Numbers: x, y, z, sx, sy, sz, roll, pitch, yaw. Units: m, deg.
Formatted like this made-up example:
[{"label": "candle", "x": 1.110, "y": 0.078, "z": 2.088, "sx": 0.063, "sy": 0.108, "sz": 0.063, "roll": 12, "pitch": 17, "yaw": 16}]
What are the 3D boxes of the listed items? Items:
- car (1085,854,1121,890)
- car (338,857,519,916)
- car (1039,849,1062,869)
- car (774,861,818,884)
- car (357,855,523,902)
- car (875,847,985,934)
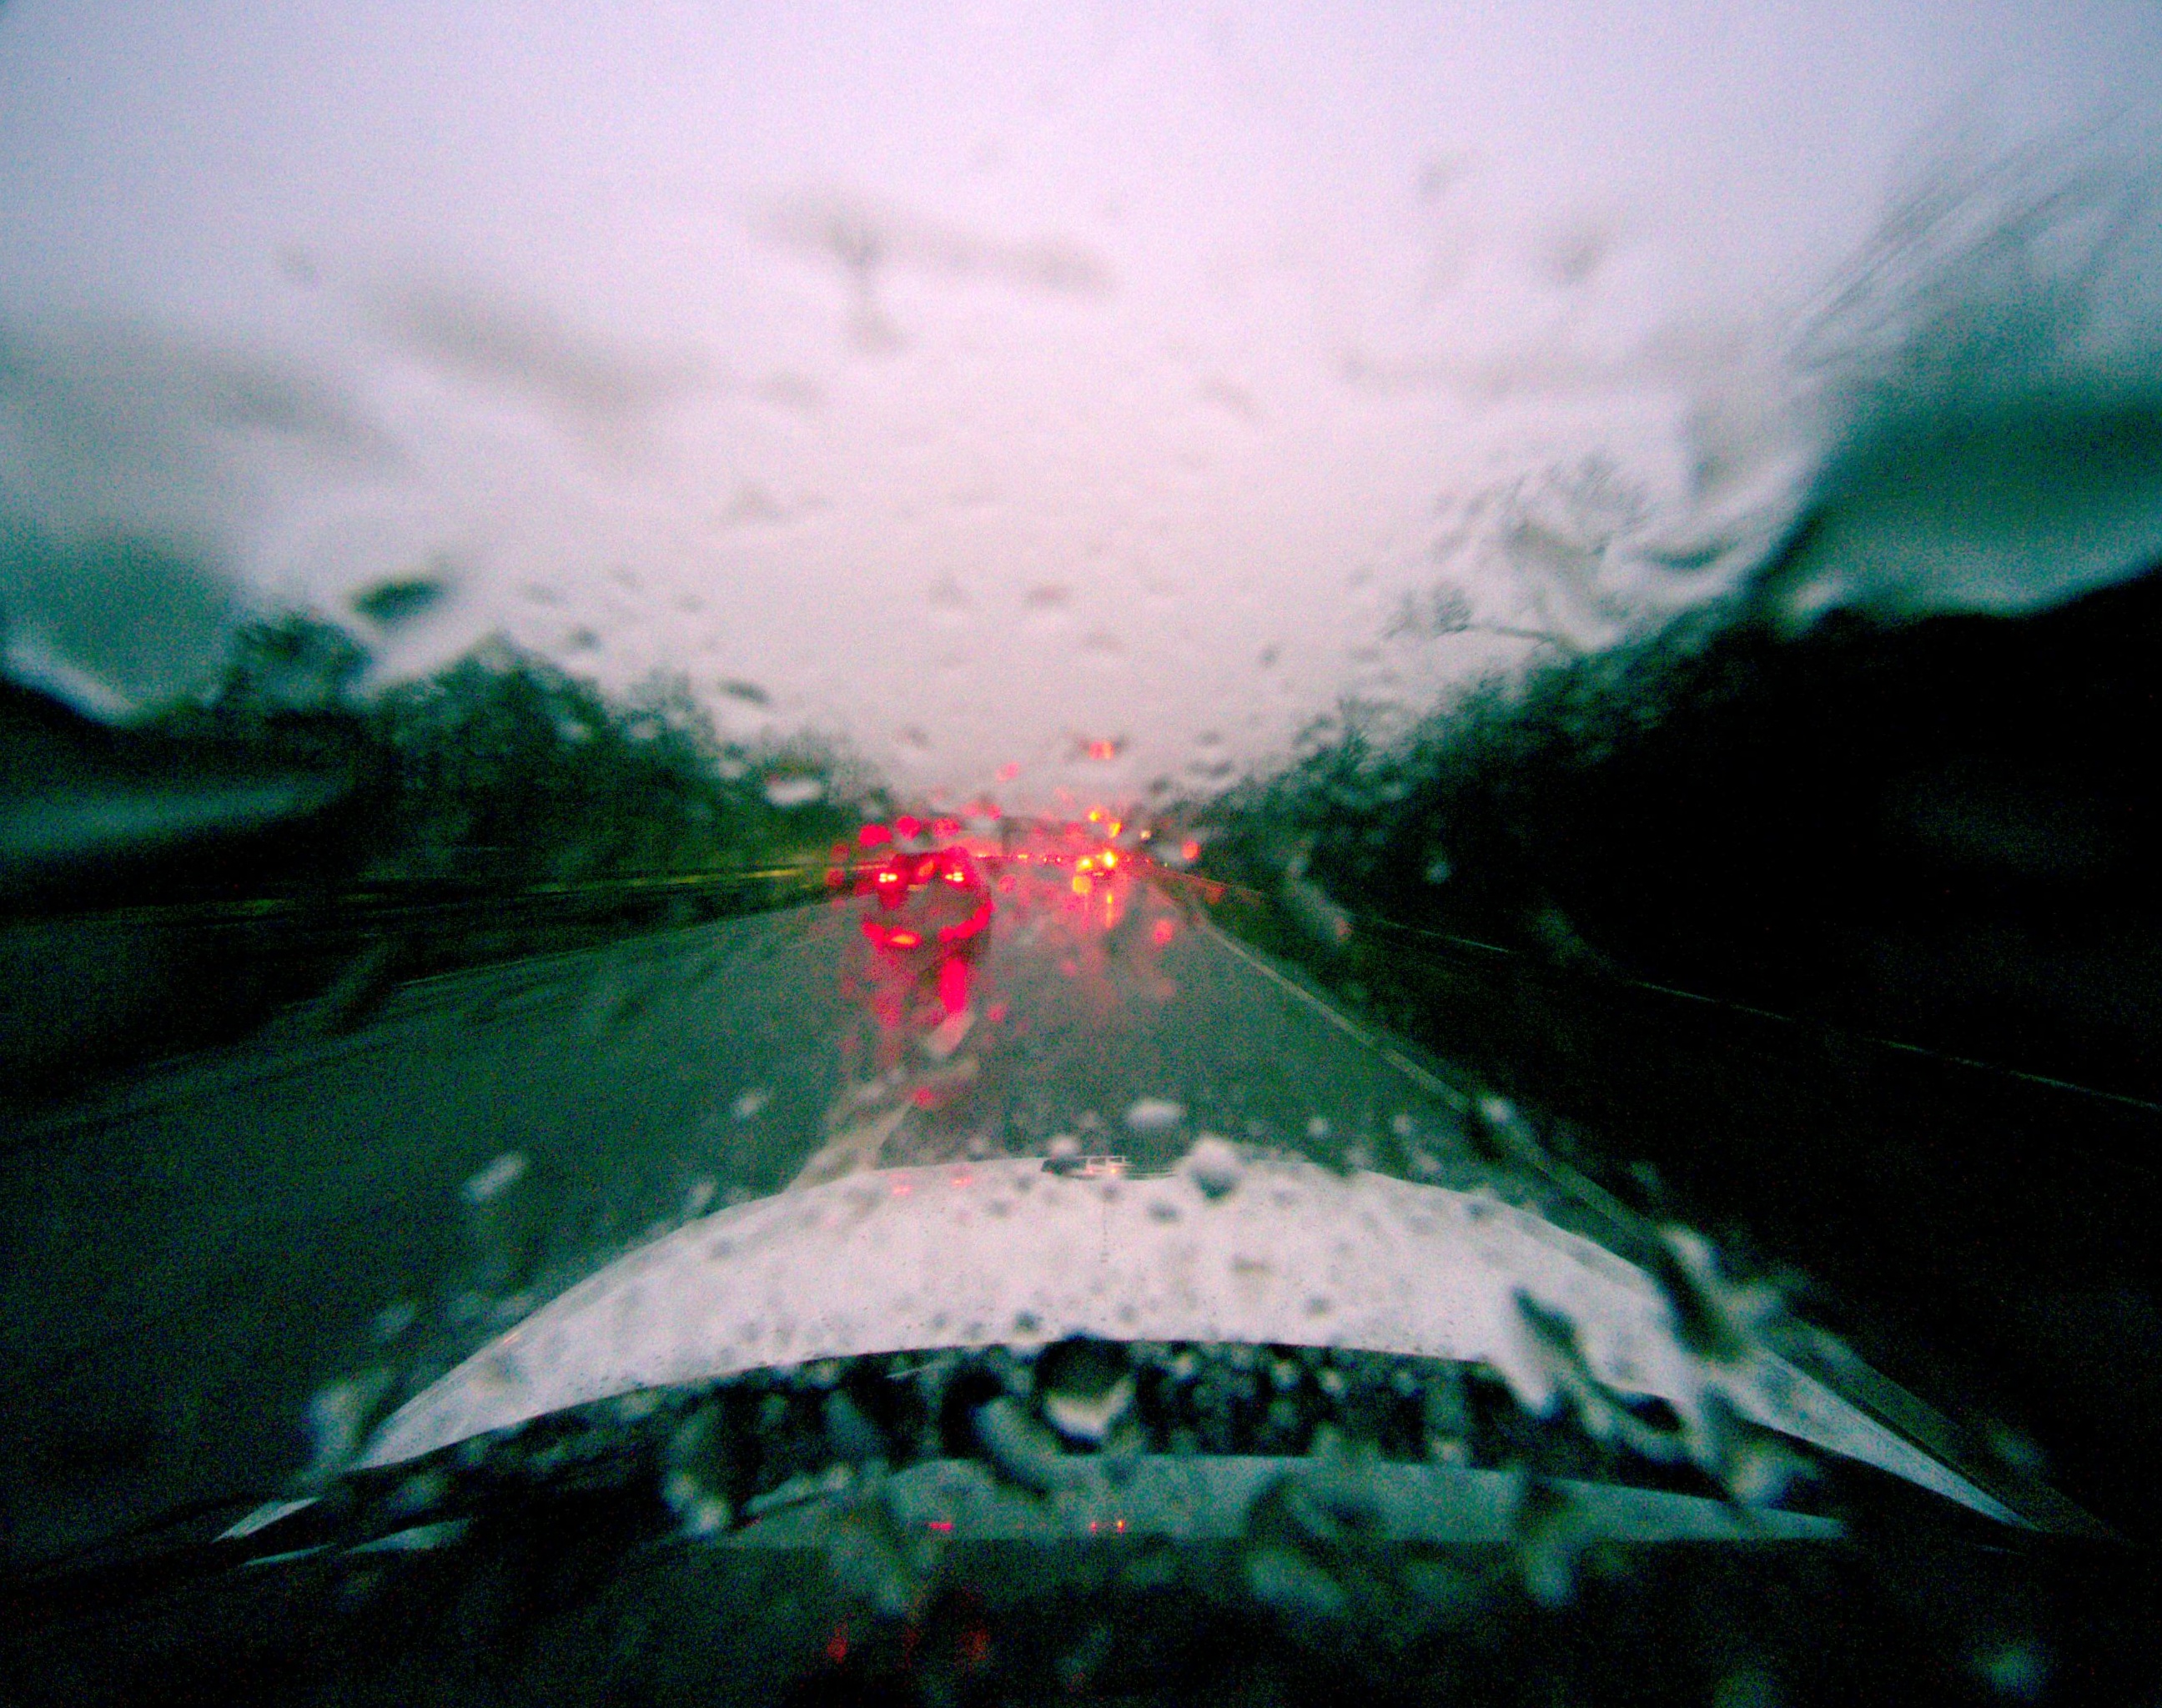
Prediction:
[{"label": "car", "x": 1.149, "y": 0.874, "z": 41.837, "sx": 1.725, "sy": 1.428, "sz": 3.769, "roll": 1, "pitch": 5, "yaw": 1}, {"label": "car", "x": -16.885, "y": 0.838, "z": 21.355, "sx": 1.569, "sy": 1.376, "sz": 3.842, "roll": 1, "pitch": -2, "yaw": 0}, {"label": "car", "x": -2.683, "y": 0.463, "z": 72.915, "sx": 1.873, "sy": 1.617, "sz": 3.873, "roll": 1, "pitch": 2, "yaw": -1}, {"label": "car", "x": -21.096, "y": 1.351, "z": 60.359, "sx": 1.677, "sy": 1.635, "sz": 4.204, "roll": -1, "pitch": -1, "yaw": 1}, {"label": "car", "x": -20.761, "y": 0.806, "z": 26.703, "sx": 1.569, "sy": 1.376, "sz": 4.782, "roll": 1, "pitch": -2, "yaw": 0}, {"label": "car", "x": -3.184, "y": 0.710, "z": 17.918, "sx": 1.990, "sy": 1.665, "sz": 3.993, "roll": -1, "pitch": 0, "yaw": -5}]
